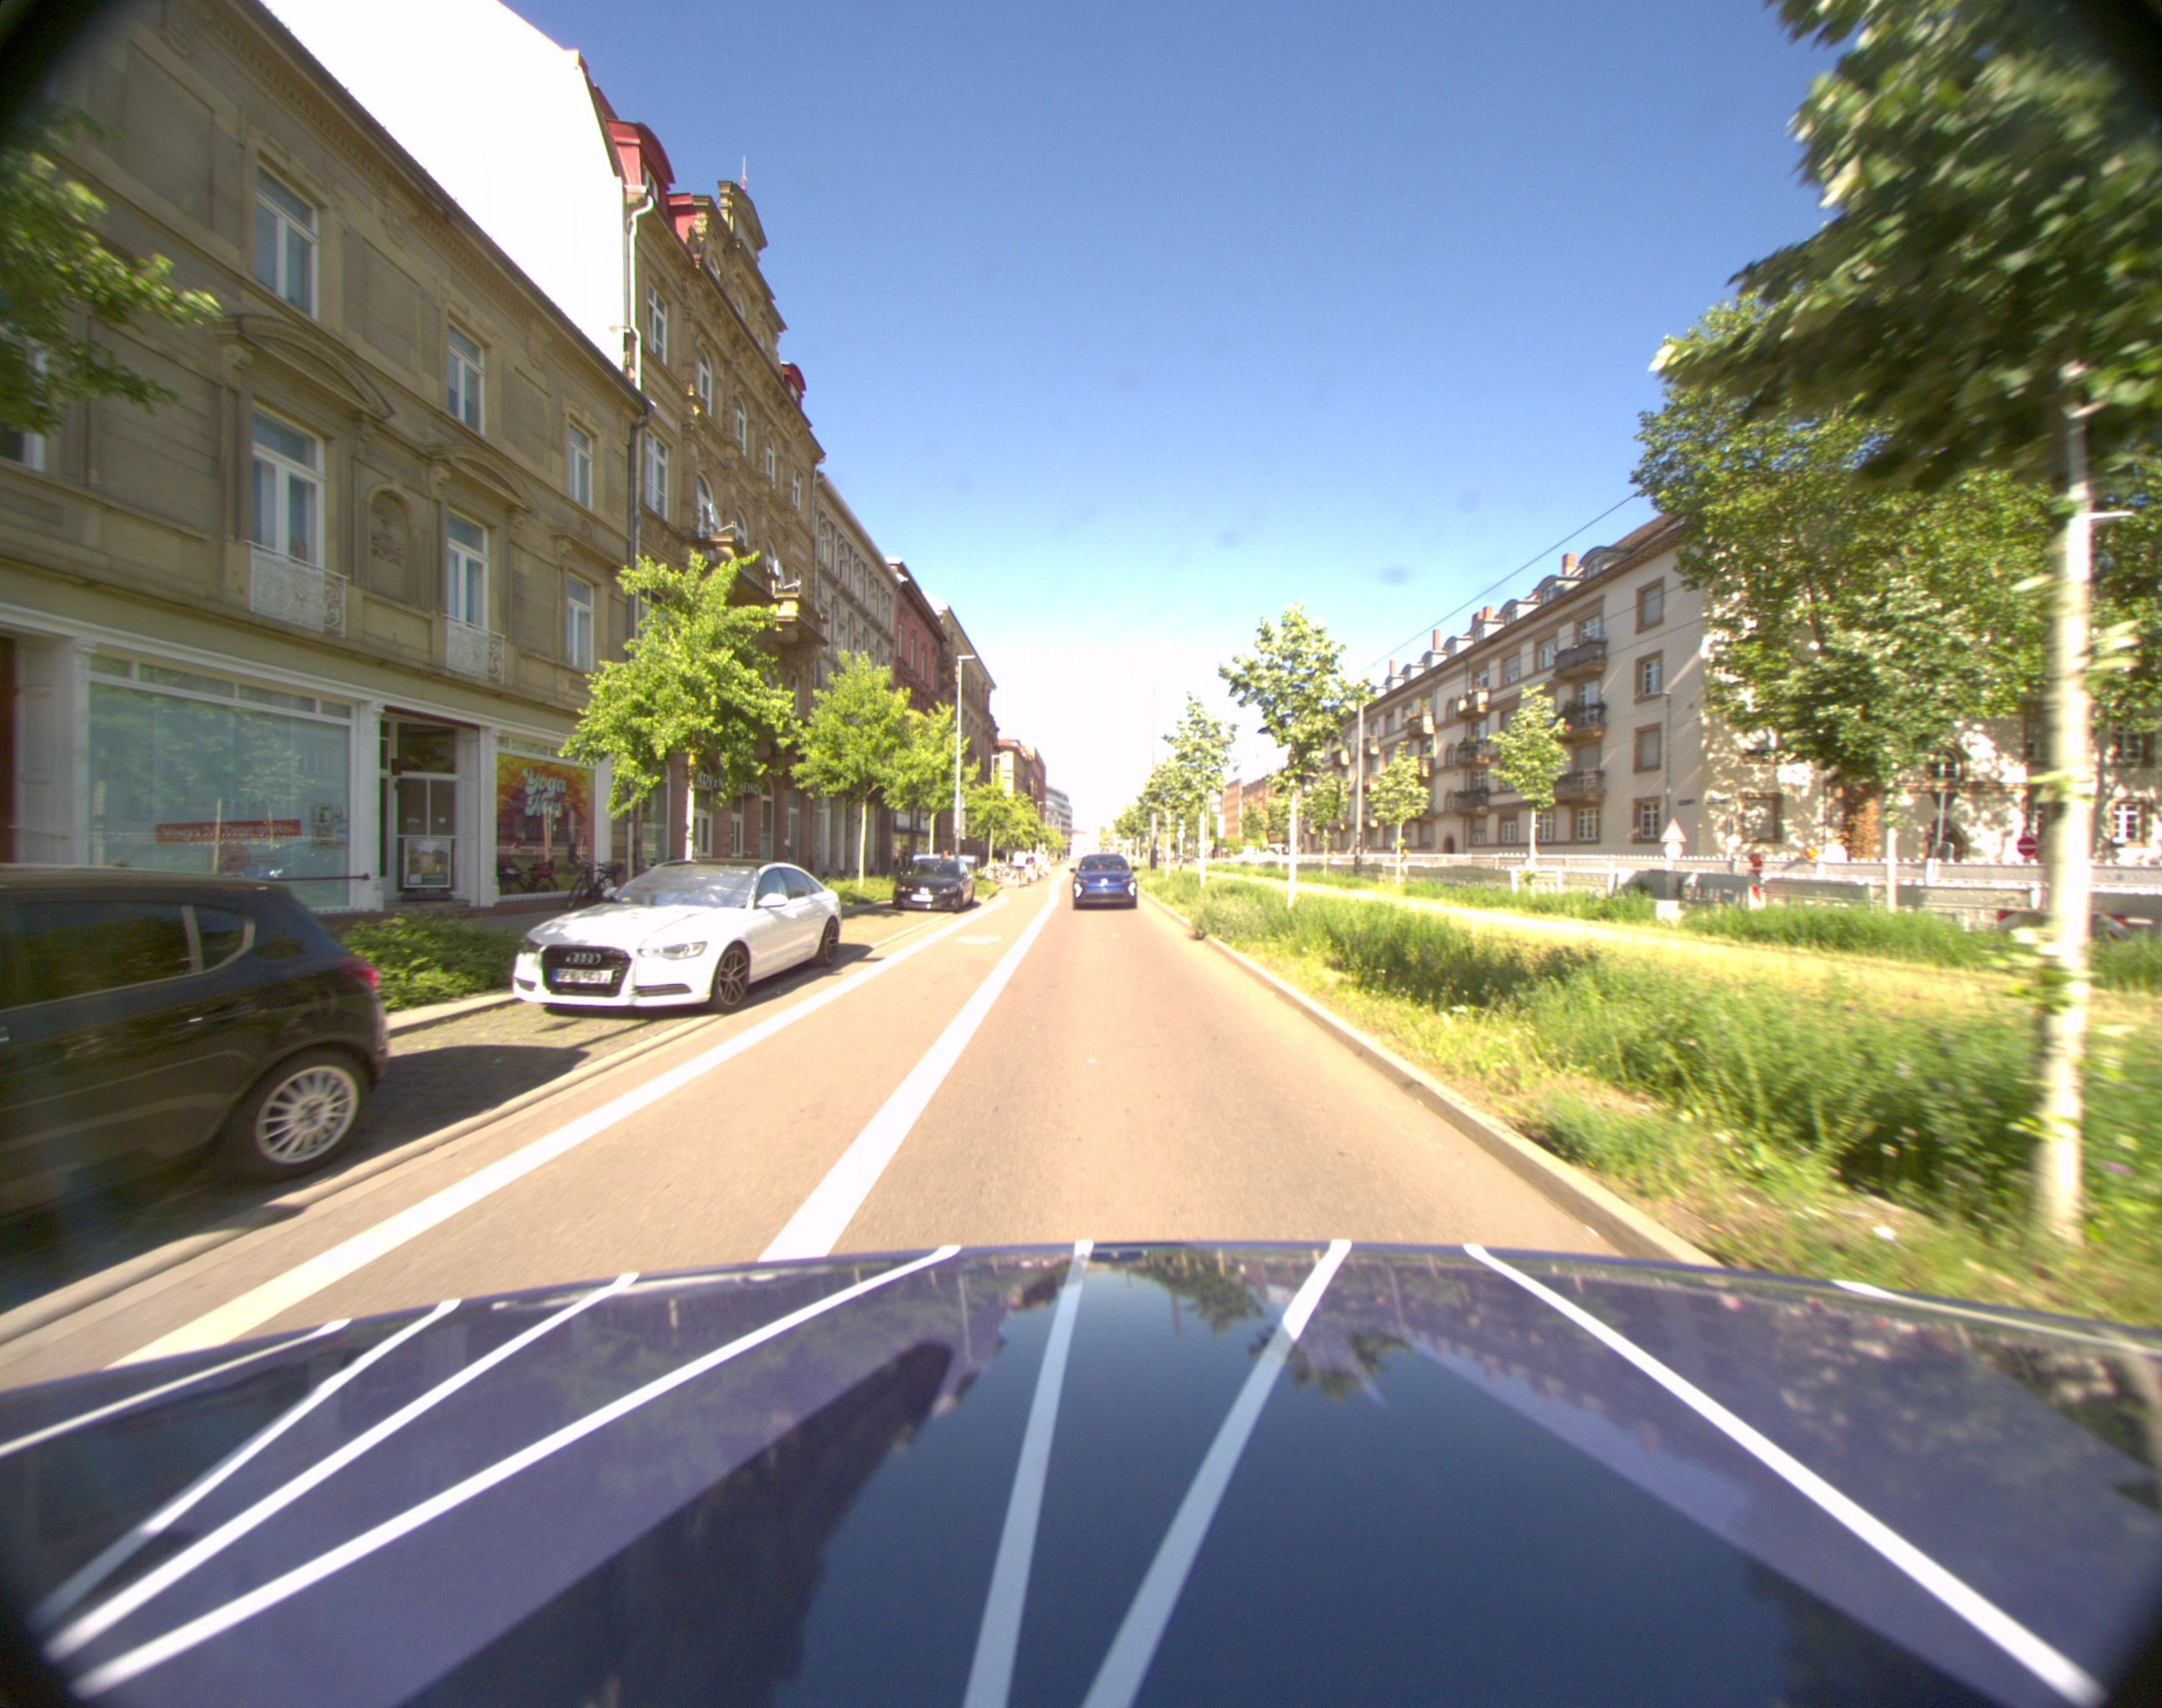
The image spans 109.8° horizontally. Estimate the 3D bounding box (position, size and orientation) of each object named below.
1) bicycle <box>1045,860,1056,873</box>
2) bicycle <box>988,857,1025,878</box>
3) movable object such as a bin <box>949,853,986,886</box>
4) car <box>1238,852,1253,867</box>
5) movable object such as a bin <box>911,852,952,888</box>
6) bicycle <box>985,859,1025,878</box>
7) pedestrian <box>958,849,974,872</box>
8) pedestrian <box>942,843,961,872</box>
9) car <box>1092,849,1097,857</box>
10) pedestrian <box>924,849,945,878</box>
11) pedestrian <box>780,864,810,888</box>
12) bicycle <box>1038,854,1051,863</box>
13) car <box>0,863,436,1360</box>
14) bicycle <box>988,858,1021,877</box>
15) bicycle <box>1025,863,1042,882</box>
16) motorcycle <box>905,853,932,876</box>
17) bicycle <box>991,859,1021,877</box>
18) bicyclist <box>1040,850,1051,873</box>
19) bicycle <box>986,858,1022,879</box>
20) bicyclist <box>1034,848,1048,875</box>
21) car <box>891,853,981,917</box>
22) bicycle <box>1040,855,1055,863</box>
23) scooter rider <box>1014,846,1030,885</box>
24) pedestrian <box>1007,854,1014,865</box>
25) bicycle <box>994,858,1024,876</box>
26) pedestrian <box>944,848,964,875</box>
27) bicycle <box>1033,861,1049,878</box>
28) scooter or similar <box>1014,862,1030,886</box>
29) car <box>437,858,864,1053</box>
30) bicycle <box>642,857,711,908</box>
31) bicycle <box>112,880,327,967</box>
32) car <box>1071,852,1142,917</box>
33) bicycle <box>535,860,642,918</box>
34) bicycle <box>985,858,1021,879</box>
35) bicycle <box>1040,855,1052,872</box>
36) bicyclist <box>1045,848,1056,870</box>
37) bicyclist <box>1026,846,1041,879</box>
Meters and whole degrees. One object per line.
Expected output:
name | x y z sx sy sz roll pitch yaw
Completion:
bicycle | -2.443 1.012 61.234 0.830 1.000 1.952 -1 0 1
bicycle | -4.521 0.817 46.219 2.154 1.148 0.429 4 0 -13
movable object such as a bin | -5.129 0.732 34.486 1.274 1.454 1.645 -1 -2 6
car | 26.452 0.794 122.155 1.997 2.283 5.192 0 1 9
movable object such as a bin | -6.732 0.690 34.339 1.376 1.487 1.749 3 1 2
bicycle | -4.657 0.890 46.566 2.293 1.096 0.485 2 1 -13
pedestrian | -8.740 0.474 57.907 0.972 1.682 1.114 3 1 2
pedestrian | -8.697 0.250 51.032 0.891 1.909 1.098 3 1 6
car | 4.498 -0.403 249.270 1.758 2.472 4.610 0 0 1
pedestrian | -8.640 0.548 44.700 0.973 1.629 0.992 2 0 1
pedestrian | -10.303 0.787 27.410 0.873 0.814 0.979 -1 1 -12
bicycle | -5.188 0.642 108.374 1.678 1.056 1.134 4 1 -1
car | -4.604 0.910 2.150 1.888 1.560 4.220 3 1 1
bicycle | -4.789 0.846 47.733 1.982 1.102 0.435 2 1 -2
bicycle | -2.619 1.021 42.082 0.725 1.000 1.952 -1 0 2
motorcycle | -9.561 0.599 44.869 0.868 1.259 2.981 0 1 1
bicycle | -4.740 0.874 48.077 1.820 1.050 0.571 2 1 -5
bicyclist | -2.475 0.495 53.340 0.725 1.595 0.895 -1 1 1
bicycle | -4.589 0.849 45.136 2.049 1.100 0.610 3 1 -5
bicyclist | -2.468 0.465 46.788 0.700 1.647 0.977 0 1 5
car | -3.989 0.794 21.585 1.770 1.468 4.447 3 1 -2
bicycle | -4.863 0.713 109.777 2.062 1.036 0.847 4 1 0
scooter rider | -2.890 0.550 37.232 0.662 1.855 0.898 0 1 1
pedestrian | -7.637 0.548 82.174 0.719 1.176 0.881 1 1 0
bicycle | -4.674 0.867 49.549 1.897 1.102 0.517 2 1 -4
pedestrian | -7.605 0.466 45.560 0.952 1.557 1.080 2 0 1
bicycle | -2.436 0.964 46.944 0.725 1.000 1.953 -1 0 4
scooter or similar | -2.898 0.973 37.230 0.647 1.151 1.150 0 1 1
car | -4.326 0.857 8.881 1.956 1.486 5.105 2 0 1
bicycle | -10.302 0.700 19.425 0.750 1.194 1.801 2 1 1
bicycle | -10.951 0.839 9.783 0.448 0.939 2.012 0 0 1
car | 0.670 0.765 21.430 1.758 1.576 4.420 -2 0 1
bicycle | -10.532 0.712 16.363 0.878 1.098 2.181 3 0 -2
bicycle | -4.590 0.857 44.728 1.980 1.117 0.481 4 0 -4
bicycle | -2.473 0.648 53.269 0.725 1.187 1.952 -1 0 1
bicyclist | -2.447 0.416 61.233 0.854 1.717 0.989 -1 1 1
bicyclist | -2.639 0.444 42.181 0.725 1.807 1.091 -1 1 2
